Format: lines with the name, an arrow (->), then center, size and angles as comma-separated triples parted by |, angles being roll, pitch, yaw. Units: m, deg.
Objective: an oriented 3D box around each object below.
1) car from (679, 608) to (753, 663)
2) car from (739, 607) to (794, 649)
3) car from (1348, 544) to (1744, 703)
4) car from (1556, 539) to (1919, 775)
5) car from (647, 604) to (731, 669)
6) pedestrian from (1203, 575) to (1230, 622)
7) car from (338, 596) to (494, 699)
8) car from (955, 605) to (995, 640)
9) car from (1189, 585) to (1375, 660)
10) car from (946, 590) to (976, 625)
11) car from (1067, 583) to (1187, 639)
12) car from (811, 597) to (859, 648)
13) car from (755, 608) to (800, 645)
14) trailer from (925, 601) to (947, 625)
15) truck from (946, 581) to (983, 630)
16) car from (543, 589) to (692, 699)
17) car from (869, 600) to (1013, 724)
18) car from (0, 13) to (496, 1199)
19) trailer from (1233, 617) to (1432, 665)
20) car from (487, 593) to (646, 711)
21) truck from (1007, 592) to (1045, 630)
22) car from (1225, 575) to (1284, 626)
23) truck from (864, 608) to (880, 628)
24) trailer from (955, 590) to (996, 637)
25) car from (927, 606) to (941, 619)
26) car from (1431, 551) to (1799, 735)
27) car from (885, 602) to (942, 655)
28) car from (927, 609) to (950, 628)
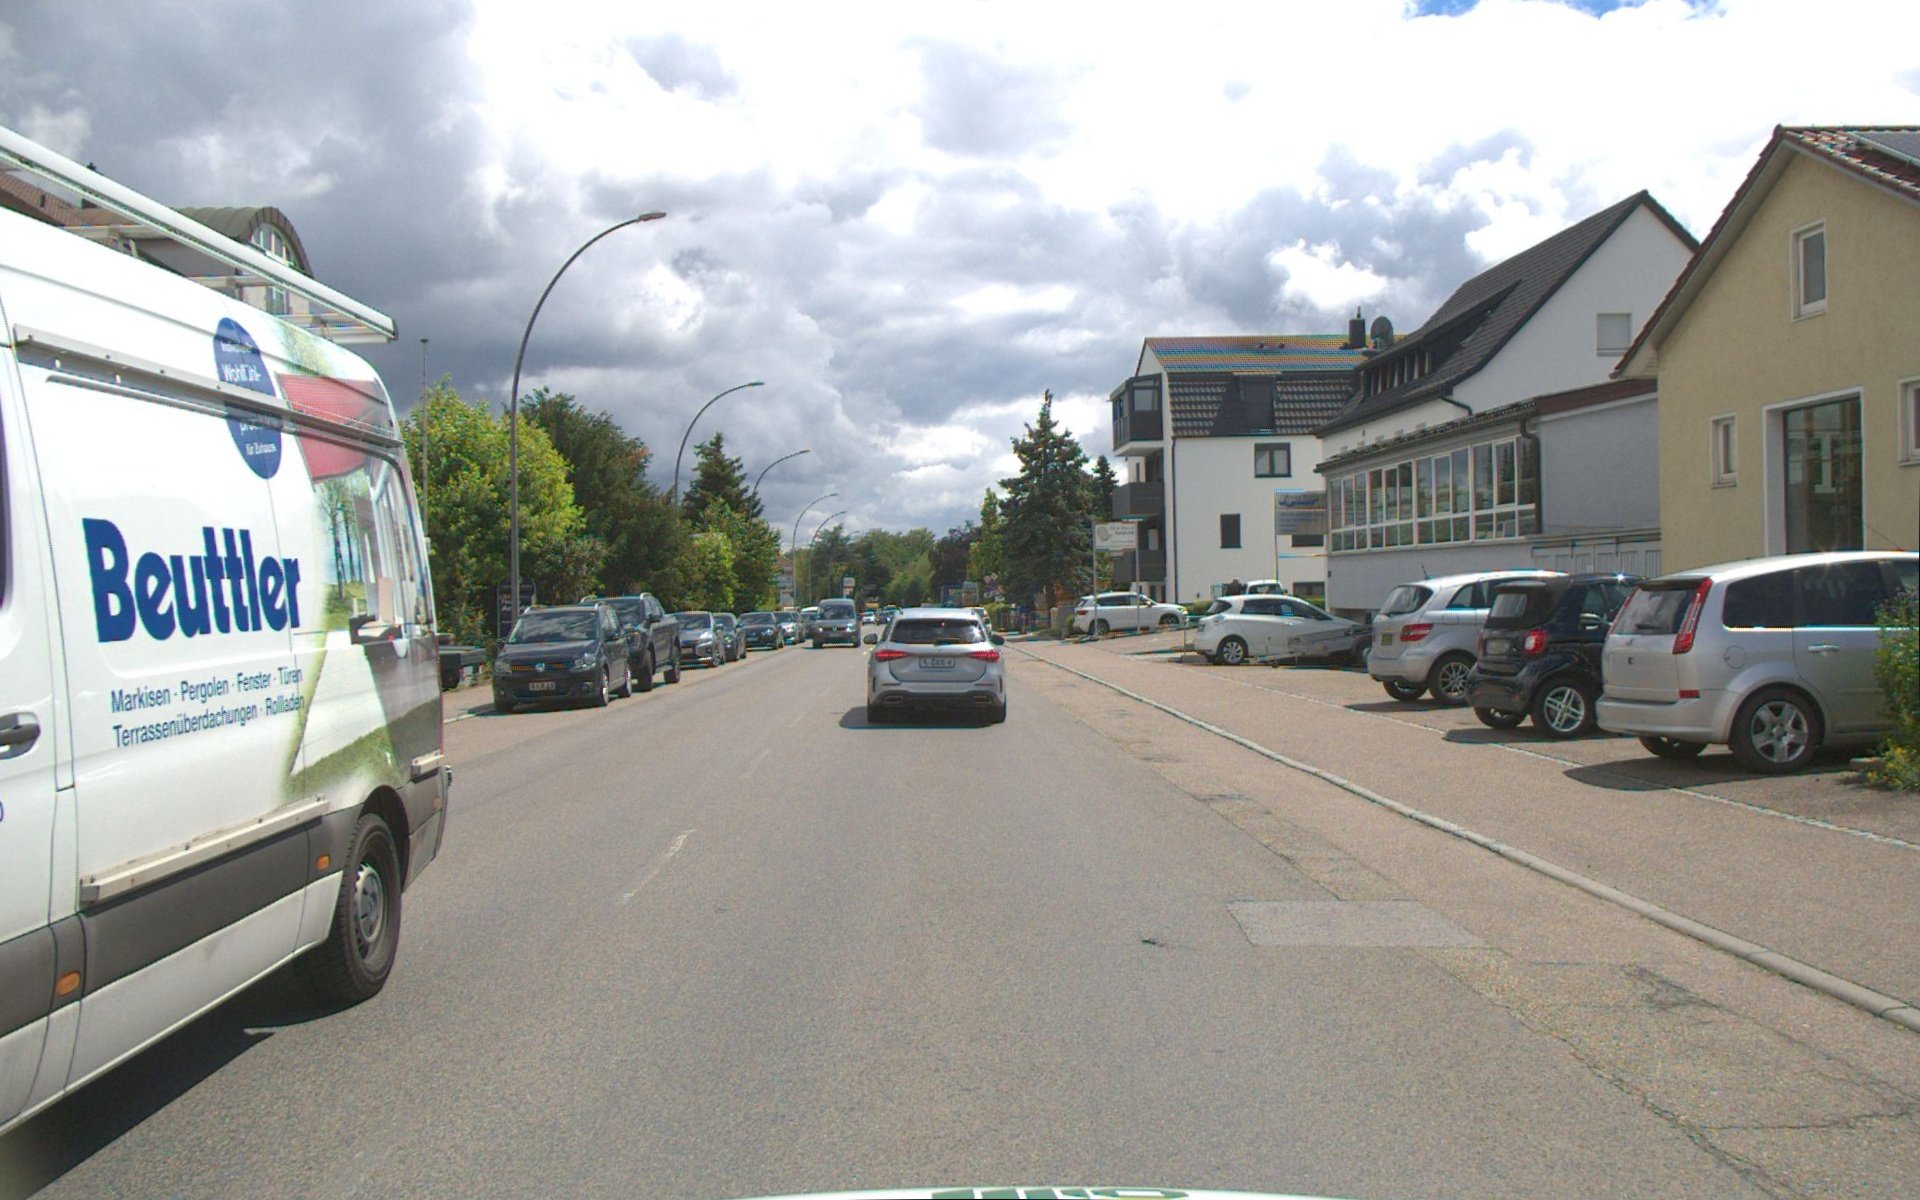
car -> -7.208, 1.015, 49.149 | 1.629, 1.460, 4.336 | -4, 0, -2
car -> -7.228, 1.025, 62.086 | 1.629, 1.439, 4.336 | -3, 0, -2
car -> 7.466, 0.282, 21.343 | 4.322, 1.636, 1.973 | -4, 0, -5
car -> 7.278, 0.332, 13.105 | 4.322, 1.551, 1.973 | -4, 0, -5
car -> -7.192, 0.925, 44.203 | 1.629, 1.537, 3.943 | -4, 0, -2
pedestrian -> 8.825, -0.038, 56.954 | 0.748, 1.554, 0.781 | -4, -1, 3
car -> -10.371, 0.855, 31.858 | 1.756, 1.816, 4.336 | 0, 0, -3
car -> 0.681, 0.998, 74.608 | 1.684, 1.457, 3.983 | -3, 0, 0
car -> 7.225, 0.501, 37.304 | 3.821, 1.637, 1.748 | 0, 0, -3
car -> 0.048, 0.477, 105.397 | 1.835, 2.207, 4.463 | 1, 0, -1
car -> 6.139, 0.393, 61.120 | 4.109, 1.682, 1.866 | -5, 0, -2
car -> -4.735, 0.828, 62.937 | 1.629, 1.827, 4.336 | -2, 0, -3
car -> -7.870, 1.114, 71.629 | 1.685, 1.457, 4.196 | -3, 0, -3
trailer -> -2.348, 1.279, 162.573 | 1.903, 2.334, 4.443 | -2, -1, -3
truck -> 0.253, 0.366, 110.919 | 2.273, 3.151, 6.040 | 1, 0, -1
car -> -6.699, 0.814, 32.960 | 1.873, 1.852, 5.427 | -5, 0, -2
car -> -0.353, 0.770, 22.402 | 1.749, 1.510, 4.313 | 0, 0, -3
car -> -3.126, 0.121, 4.706 | 1.952, 2.814, 6.161 | -3, 0, -2
trailer -> 7.745, 0.840, 34.560 | 3.740, 0.822, 1.656 | -2, 0, -3
car -> -6.430, 0.792, 27.500 | 1.629, 1.709, 4.524 | -3, 0, -2
truck -> 4.135, 0.659, 103.866 | 1.793, 2.118, 5.383 | -4, 1, -2
car -> 10.069, -0.011, 56.730 | 1.597, 1.545, 3.667 | -4, 1, 6
truck -> -13.528, 2.793, 255.073 | 2.033, 2.863, 7.076 | -2, 0, 0
trailer -> 0.716, 0.644, 80.293 | 1.737, 2.182, 4.112 | -2, 0, -2
car -> -4.115, 1.979, 257.320 | 2.101, 2.019, 5.259 | -2, 0, -1
car -> 6.585, 0.410, 16.856 | 2.832, 1.551, 1.973 | -4, 0, -5
car -> -1.505, 0.887, 52.668 | 1.720, 1.585, 3.998 | -1, 0, -2
car -> -1.949, 1.664, 151.372 | 1.902, 1.599, 4.445 | -2, 0, 0
